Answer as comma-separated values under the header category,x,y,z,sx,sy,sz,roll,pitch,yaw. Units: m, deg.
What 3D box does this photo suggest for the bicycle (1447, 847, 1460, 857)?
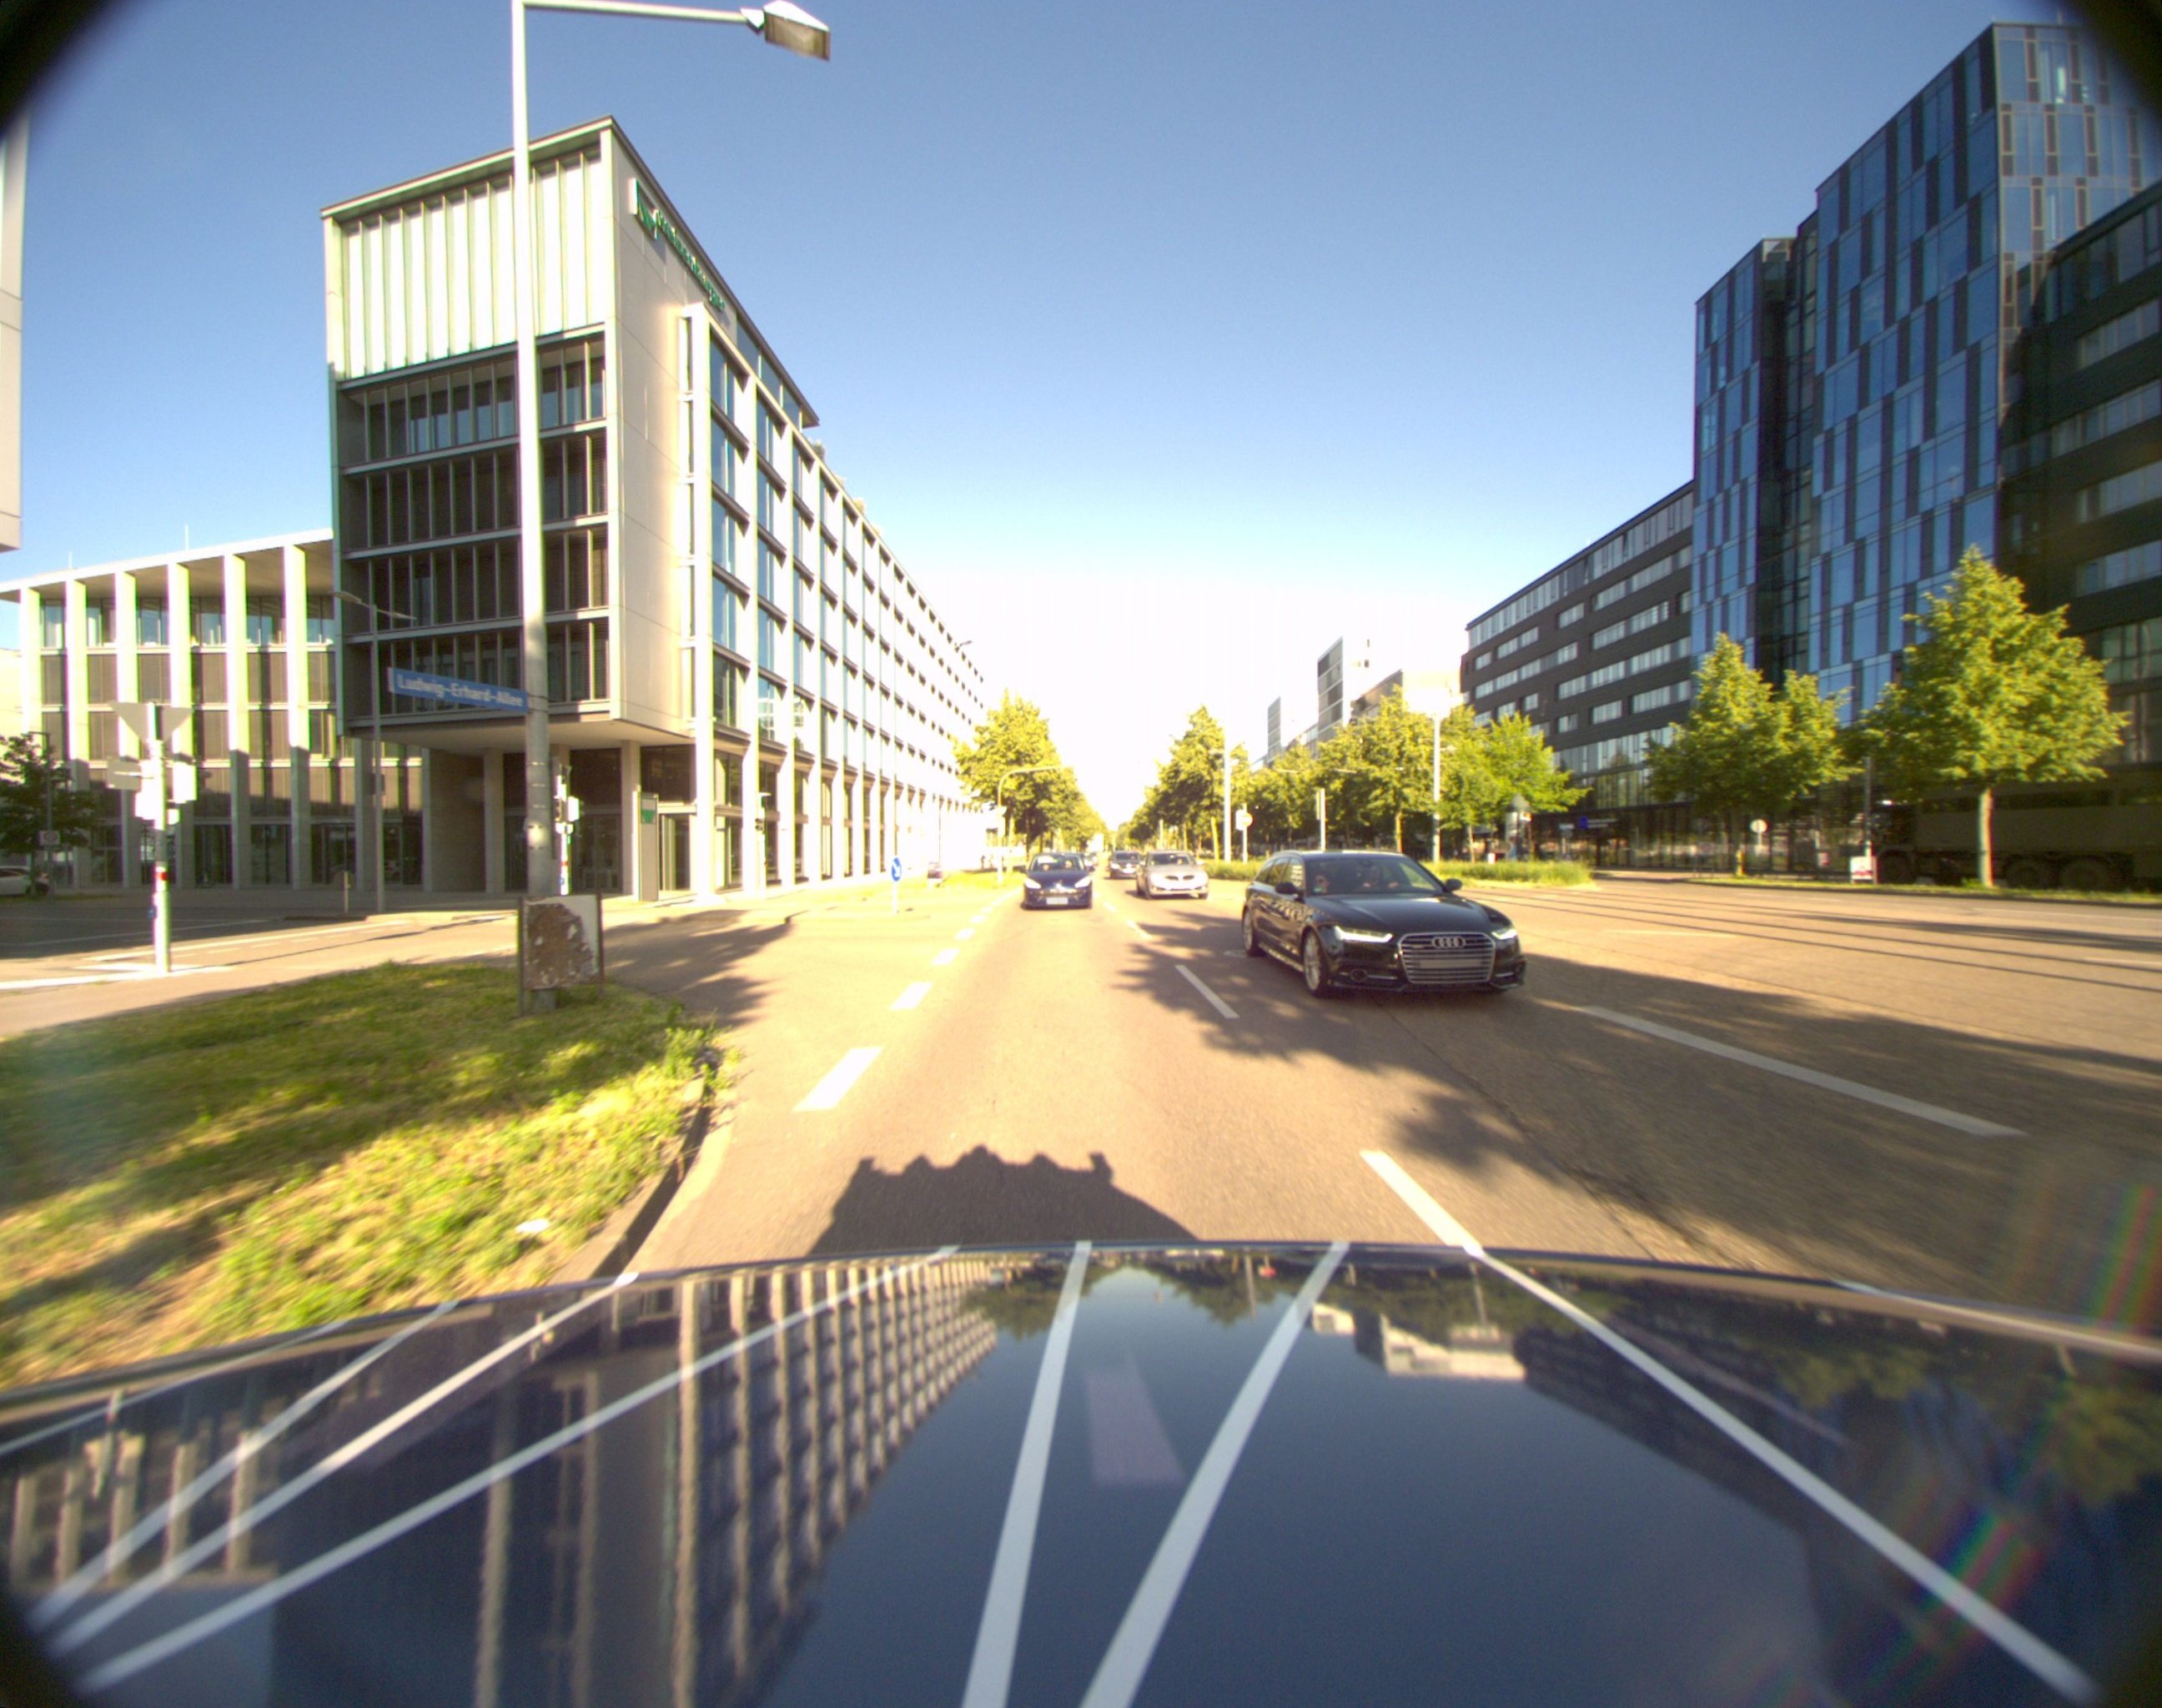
category,x,y,z,sx,sy,sz,roll,pitch,yaw
bicycle,41.420,-0.236,84.485,0.528,1.028,1.847,-1,2,3

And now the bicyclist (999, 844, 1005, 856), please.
category,x,y,z,sx,sy,sz,roll,pitch,yaw
bicyclist,-8.325,-0.454,80.251,0.534,1.282,0.521,-1,2,3

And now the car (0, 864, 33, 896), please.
category,x,y,z,sx,sy,sz,roll,pitch,yaw
car,-52.858,1.282,35.616,1.657,1.496,4.004,0,1,15

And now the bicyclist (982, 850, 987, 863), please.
category,x,y,z,sx,sy,sz,roll,pitch,yaw
bicyclist,-9.764,0.287,76.824,0.448,1.282,0.418,-1,2,3

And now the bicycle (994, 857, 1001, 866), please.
category,x,y,z,sx,sy,sz,roll,pitch,yaw
bicycle,-8.493,0.780,76.880,0.464,0.813,1.344,-1,2,4

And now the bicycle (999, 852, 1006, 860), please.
category,x,y,z,sx,sy,sz,roll,pitch,yaw
bicycle,-8.308,0.168,80.367,0.464,0.813,1.344,-1,2,4

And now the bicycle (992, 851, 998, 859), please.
category,x,y,z,sx,sy,sz,roll,pitch,yaw
bicycle,-9.153,0.141,80.955,0.464,0.813,1.344,-1,2,4

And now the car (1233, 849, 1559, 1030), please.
category,x,y,z,sx,sy,sz,roll,pitch,yaw
car,3.107,0.701,8.637,1.812,1.449,4.507,-1,1,0

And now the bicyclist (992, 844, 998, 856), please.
category,x,y,z,sx,sy,sz,roll,pitch,yaw
bicyclist,-9.142,-0.443,80.895,0.534,1.282,0.457,-1,2,3

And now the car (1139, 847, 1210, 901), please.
category,x,y,z,sx,sy,sz,roll,pitch,yaw
car,2.830,0.549,23.920,1.812,1.480,4.742,0,1,2

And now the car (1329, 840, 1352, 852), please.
category,x,y,z,sx,sy,sz,roll,pitch,yaw
car,36.437,-1.103,106.722,1.858,1.674,4.792,0,1,3

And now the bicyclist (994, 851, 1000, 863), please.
category,x,y,z,sx,sy,sz,roll,pitch,yaw
bicyclist,-8.523,0.332,76.852,0.534,1.210,0.507,-1,2,3

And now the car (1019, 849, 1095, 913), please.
category,x,y,z,sx,sy,sz,roll,pitch,yaw
car,-0.548,0.644,20.253,1.686,1.514,3.785,0,1,3

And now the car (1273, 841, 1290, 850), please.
category,x,y,z,sx,sy,sz,roll,pitch,yaw
car,38.098,-1.618,144.647,2.011,1.689,4.792,0,1,1

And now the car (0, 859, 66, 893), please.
category,x,y,z,sx,sy,sz,roll,pitch,yaw
car,-50.217,1.032,34.852,1.657,1.496,4.004,0,1,15

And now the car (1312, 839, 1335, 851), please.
category,x,y,z,sx,sy,sz,roll,pitch,yaw
car,37.229,-1.377,116.821,2.012,1.689,4.791,-1,1,-1

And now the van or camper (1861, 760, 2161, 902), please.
category,x,y,z,sx,sy,sz,roll,pitch,yaw
van or camper,33.327,-0.785,26.170,2.760,4.169,10.229,-1,1,3

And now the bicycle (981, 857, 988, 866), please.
category,x,y,z,sx,sy,sz,roll,pitch,yaw
bicycle,-9.766,0.747,76.834,0.415,0.813,1.320,-1,2,4

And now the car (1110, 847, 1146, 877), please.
category,x,y,z,sx,sy,sz,roll,pitch,yaw
car,2.513,0.389,40.878,1.812,1.514,4.029,0,1,3
